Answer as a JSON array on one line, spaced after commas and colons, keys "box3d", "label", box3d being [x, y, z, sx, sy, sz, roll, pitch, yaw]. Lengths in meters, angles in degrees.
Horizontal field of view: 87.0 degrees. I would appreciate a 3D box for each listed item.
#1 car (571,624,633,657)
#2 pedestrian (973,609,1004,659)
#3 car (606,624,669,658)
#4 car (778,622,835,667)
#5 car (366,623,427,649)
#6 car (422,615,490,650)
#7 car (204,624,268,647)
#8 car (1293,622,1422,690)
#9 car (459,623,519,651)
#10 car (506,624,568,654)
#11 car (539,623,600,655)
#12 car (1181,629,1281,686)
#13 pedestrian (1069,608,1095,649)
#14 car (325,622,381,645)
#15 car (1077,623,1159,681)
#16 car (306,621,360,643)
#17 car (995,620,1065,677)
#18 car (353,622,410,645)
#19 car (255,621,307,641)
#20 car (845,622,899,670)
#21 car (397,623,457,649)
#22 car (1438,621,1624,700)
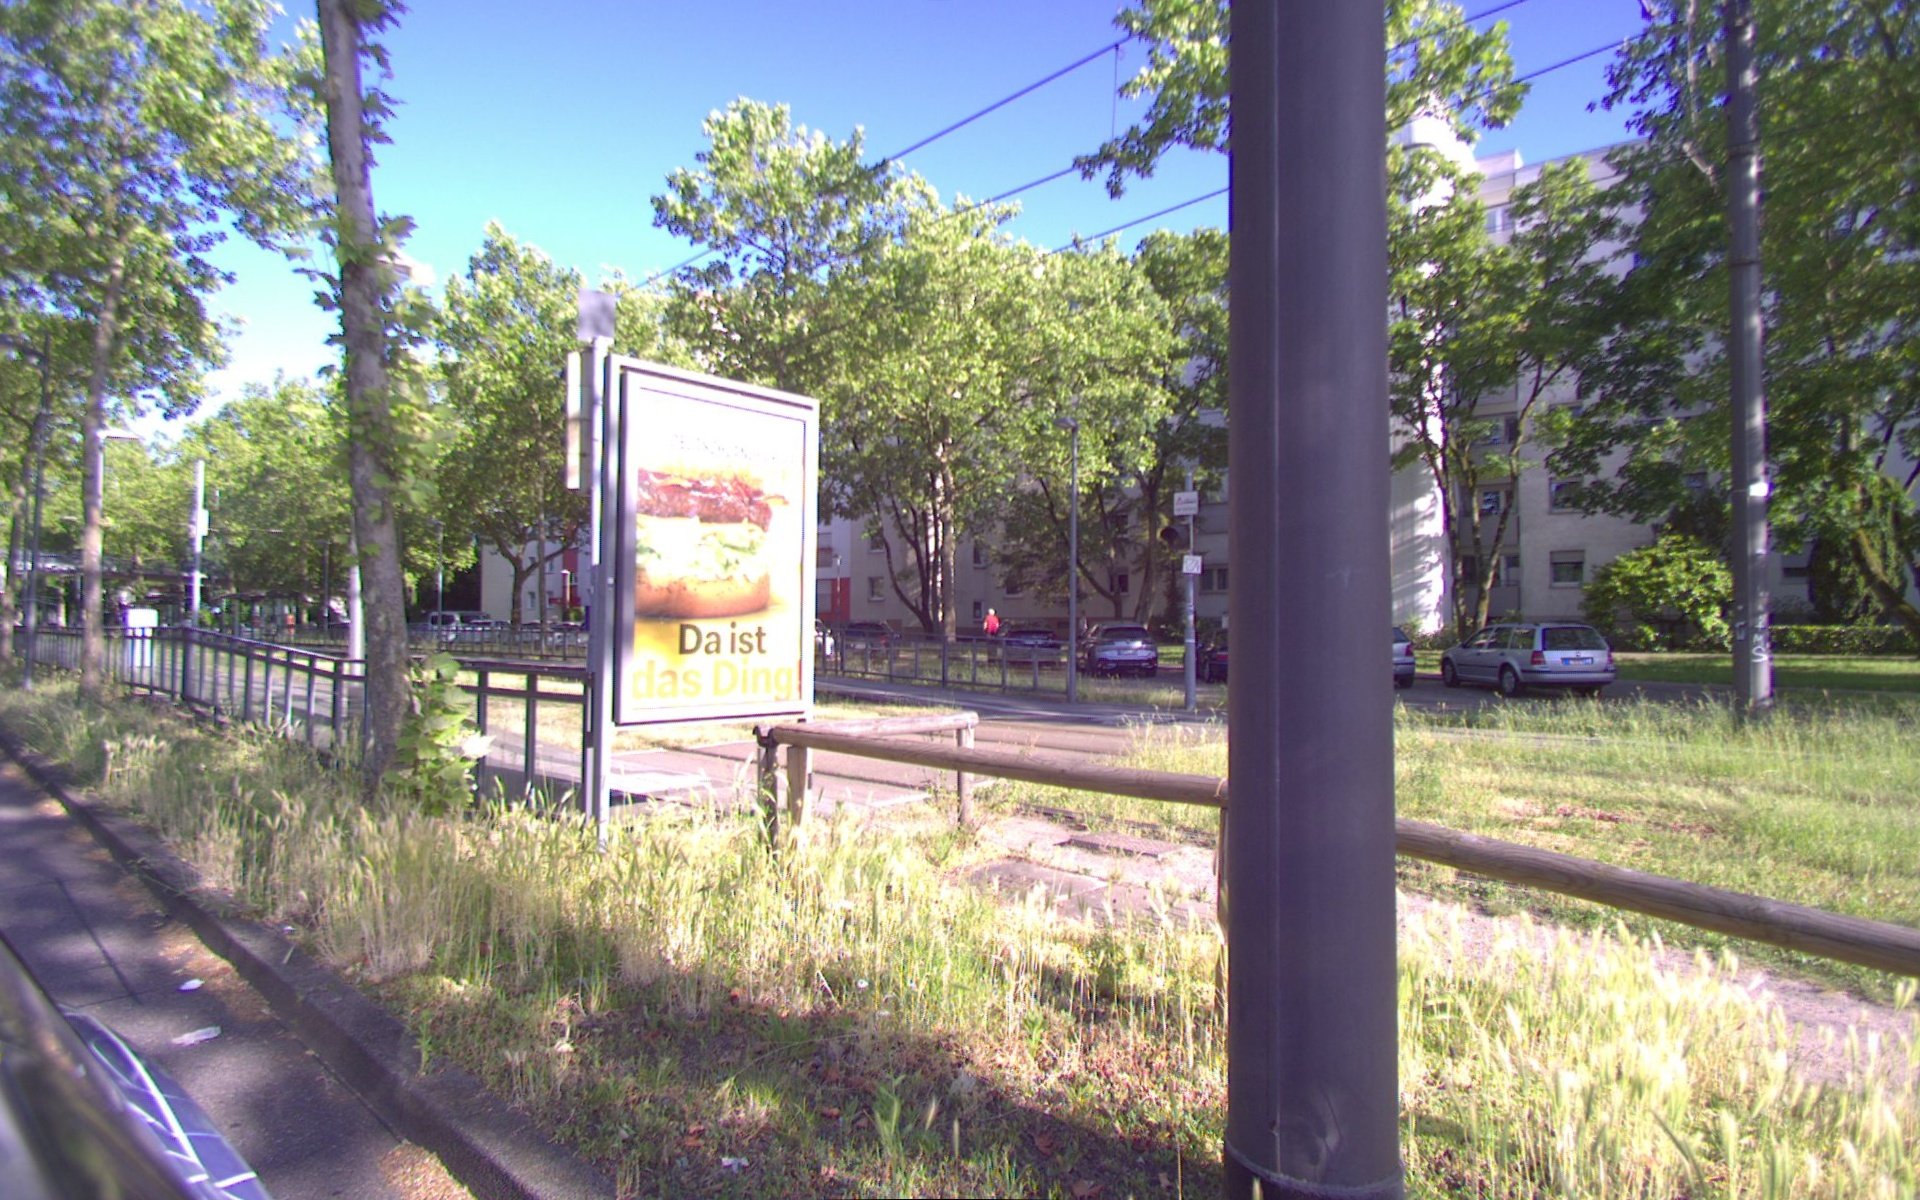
[{"box3d": [-16.626, 1.857, 47.159, 1.633, 1.452, 3.805, -1, -1, -2], "label": "car"}, {"box3d": [1.014, 1.212, 36.285, 0.786, 1.745, 0.755, -1, 0, 39], "label": "pedestrian"}, {"box3d": [-14.063, 1.767, 44.337, 1.633, 1.366, 3.805, -1, -1, -2], "label": "car"}, {"box3d": [-5.565, 1.571, 37.019, 1.633, 1.522, 3.805, -1, -1, -2], "label": "car"}, {"box3d": [-33.695, 2.115, 60.602, 1.633, 1.452, 3.805, -1, -1, -2], "label": "car"}, {"box3d": [-28.453, 1.826, 57.254, 1.814, 1.888, 4.323, -1, -1, -2], "label": "car"}, {"box3d": [-49.398, 2.431, 69.048, 4.619, 1.522, 1.641, -1, -1, 27], "label": "car"}, {"box3d": [9.144, 1.241, 23.592, 1.559, 1.413, 3.638, -1, -1, 0], "label": "car"}, {"box3d": [-25.871, 2.001, 55.660, 1.633, 1.452, 3.805, -1, -1, -2], "label": "car"}, {"box3d": [-21.337, 1.941, 51.184, 1.633, 1.452, 3.805, -1, -1, -2], "label": "car"}, {"box3d": [-19.045, 1.899, 49.540, 1.633, 1.452, 3.805, -1, -1, -2], "label": "car"}, {"box3d": [6.676, 1.380, 25.279, 1.445, 1.234, 3.815, -1, -1, 0], "label": "car"}, {"box3d": [5.012, 1.162, 41.527, 0.786, 1.635, 0.755, -1, 0, 39], "label": "pedestrian"}, {"box3d": [-40.840, 2.228, 68.191, 1.633, 1.452, 3.805, -1, -1, -2], "label": "car"}, {"box3d": [4.218, 1.367, 27.521, 1.633, 1.413, 3.803, -1, -1, 0], "label": "car"}, {"box3d": [-44.980, 2.288, 72.680, 1.633, 1.452, 3.805, -1, -1, -2], "label": "car"}, {"box3d": [1.984, 1.357, 29.668, 1.633, 1.522, 3.805, -1, -1, -2], "label": "car"}, {"box3d": [-37.886, 2.174, 66.378, 1.633, 1.452, 3.805, -1, -1, -2], "label": "car"}, {"box3d": [-53.052, 2.403, 79.151, 1.633, 1.452, 3.805, -1, -1, -2], "label": "car"}, {"box3d": [-2.975, 1.529, 34.650, 1.633, 1.522, 3.805, -1, -1, -2], "label": "car"}, {"box3d": [-31.332, 2.084, 59.599, 1.633, 1.452, 3.805, -1, -1, -2], "label": "car"}, {"box3d": [11.475, 1.163, 20.667, 1.559, 1.413, 3.906, -1, -1, 0], "label": "car"}]
